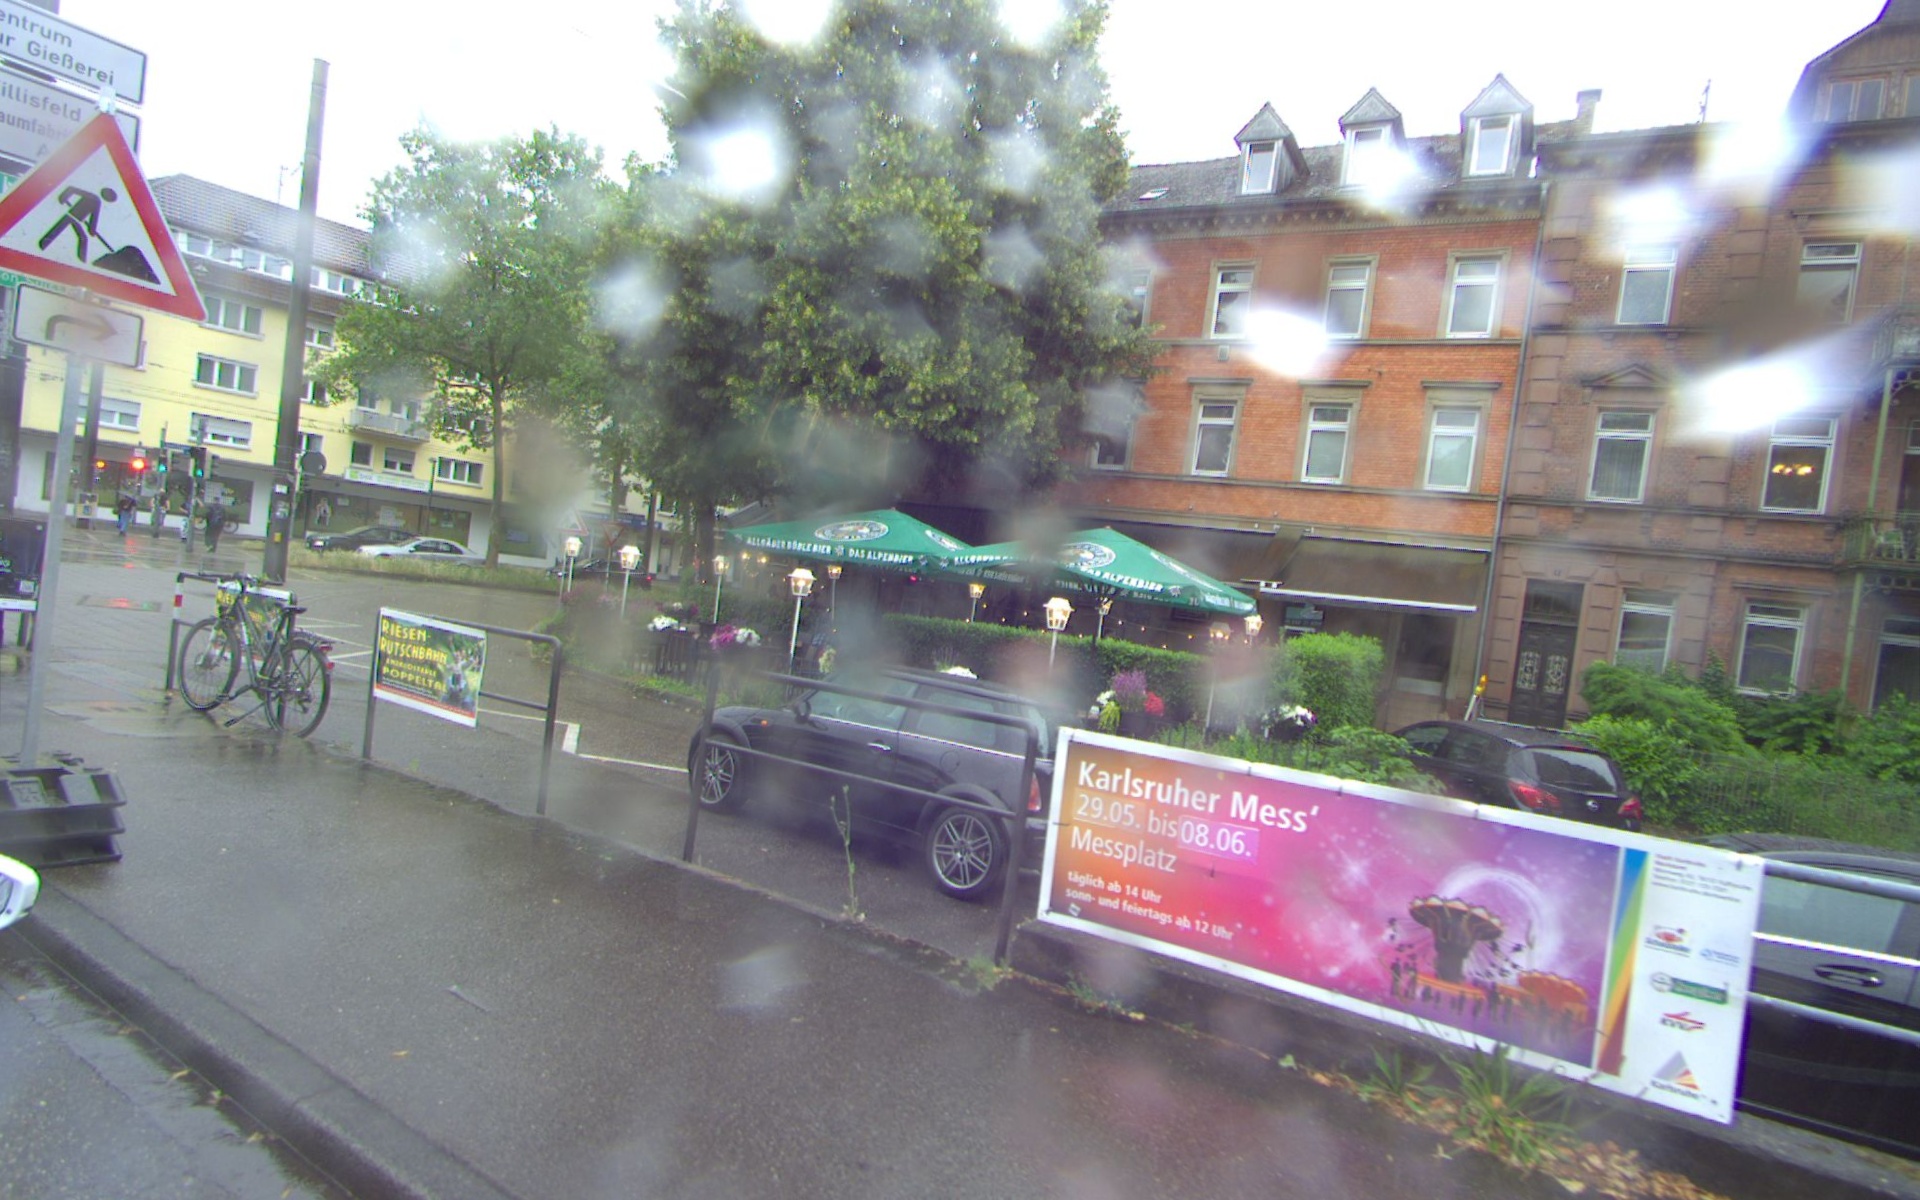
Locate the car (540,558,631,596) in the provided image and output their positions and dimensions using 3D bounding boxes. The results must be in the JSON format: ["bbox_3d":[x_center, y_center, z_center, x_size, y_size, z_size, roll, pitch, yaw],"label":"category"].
[{"bbox_3d":[-15.755,-0.946,42.455,1.226,1.095,3.533,7,-1,32],"label":"car"}]

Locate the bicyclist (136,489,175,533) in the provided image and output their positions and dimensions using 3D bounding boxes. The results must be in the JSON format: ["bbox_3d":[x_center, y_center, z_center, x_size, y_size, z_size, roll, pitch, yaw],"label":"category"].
[{"bbox_3d":[-32.700,-3.604,40.911,0.926,1.566,1.061,7,0,-28],"label":"bicyclist"}]

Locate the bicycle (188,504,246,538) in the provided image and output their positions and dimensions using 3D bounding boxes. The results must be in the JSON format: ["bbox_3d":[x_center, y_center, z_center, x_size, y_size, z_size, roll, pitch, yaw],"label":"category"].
[{"bbox_3d":[-35.640,-3.802,48.272,2.096,1.277,0.525,8,0,-44],"label":"bicycle"}]

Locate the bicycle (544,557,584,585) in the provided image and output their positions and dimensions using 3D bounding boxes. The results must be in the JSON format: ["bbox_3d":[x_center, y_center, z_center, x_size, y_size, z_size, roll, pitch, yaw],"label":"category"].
[{"bbox_3d":[-17.594,-1.284,44.699,0.415,1.013,1.640,7,-1,32],"label":"bicycle"}]

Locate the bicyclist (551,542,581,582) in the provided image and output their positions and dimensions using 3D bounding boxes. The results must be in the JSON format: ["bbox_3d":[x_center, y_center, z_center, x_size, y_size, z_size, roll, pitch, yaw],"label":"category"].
[{"bbox_3d":[-17.514,-1.681,44.739,0.699,1.634,0.815,7,0,32],"label":"bicyclist"}]

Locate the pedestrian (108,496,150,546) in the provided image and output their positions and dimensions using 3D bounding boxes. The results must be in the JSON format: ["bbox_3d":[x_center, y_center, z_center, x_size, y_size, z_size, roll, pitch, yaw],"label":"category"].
[{"bbox_3d":[-28.492,-2.699,34.506,0.612,1.552,0.816,7,0,-6],"label":"pedestrian"}]

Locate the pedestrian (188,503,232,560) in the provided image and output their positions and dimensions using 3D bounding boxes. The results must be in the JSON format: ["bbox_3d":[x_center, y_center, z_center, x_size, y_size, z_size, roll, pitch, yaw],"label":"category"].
[{"bbox_3d":[-24.032,-2.187,32.242,0.898,1.689,1.011,7,0,-33],"label":"pedestrian"}]

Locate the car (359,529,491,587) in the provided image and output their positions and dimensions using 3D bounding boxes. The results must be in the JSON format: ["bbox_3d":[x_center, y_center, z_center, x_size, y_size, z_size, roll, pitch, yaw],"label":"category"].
[{"bbox_3d":[-19.815,-1.526,37.329,3.926,1.508,1.784,8,0,-43],"label":"car"}]

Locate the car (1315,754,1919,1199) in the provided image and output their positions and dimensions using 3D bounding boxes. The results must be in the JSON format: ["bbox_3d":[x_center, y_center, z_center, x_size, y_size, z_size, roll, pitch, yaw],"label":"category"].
[{"bbox_3d":[4.058,1.861,5.045,3.907,1.417,1.705,7,-1,32],"label":"car"}]

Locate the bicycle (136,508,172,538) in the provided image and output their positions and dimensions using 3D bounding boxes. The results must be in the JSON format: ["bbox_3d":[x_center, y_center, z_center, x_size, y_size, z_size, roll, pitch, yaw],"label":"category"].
[{"bbox_3d":[-32.782,-3.119,40.941,0.652,1.039,2.010,7,-1,-28],"label":"bicycle"}]

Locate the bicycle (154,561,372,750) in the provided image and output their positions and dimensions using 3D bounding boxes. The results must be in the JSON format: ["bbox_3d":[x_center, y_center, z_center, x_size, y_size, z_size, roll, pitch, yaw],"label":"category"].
[{"bbox_3d":[-5.277,0.383,7.568,1.984,1.119,0.515,7,-2,34],"label":"bicycle"}]

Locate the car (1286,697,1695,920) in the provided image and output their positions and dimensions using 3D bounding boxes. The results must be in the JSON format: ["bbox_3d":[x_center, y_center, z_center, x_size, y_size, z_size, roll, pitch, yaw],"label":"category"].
[{"bbox_3d":[6.147,2.367,12.246,1.972,1.733,3.984,8,-1,-19],"label":"car"}]

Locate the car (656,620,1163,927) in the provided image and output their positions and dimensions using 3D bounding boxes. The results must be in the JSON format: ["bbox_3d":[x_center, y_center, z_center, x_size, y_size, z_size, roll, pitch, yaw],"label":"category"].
[{"bbox_3d":[-0.453,1.205,7.869,3.467,1.457,1.710,8,-3,34],"label":"car"}]

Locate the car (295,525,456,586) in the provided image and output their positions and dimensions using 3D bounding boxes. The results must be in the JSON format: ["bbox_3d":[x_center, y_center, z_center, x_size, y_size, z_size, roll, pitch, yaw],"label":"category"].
[{"bbox_3d":[-22.516,-1.667,38.898,1.975,1.661,4.928,3,-3,43],"label":"car"}]
